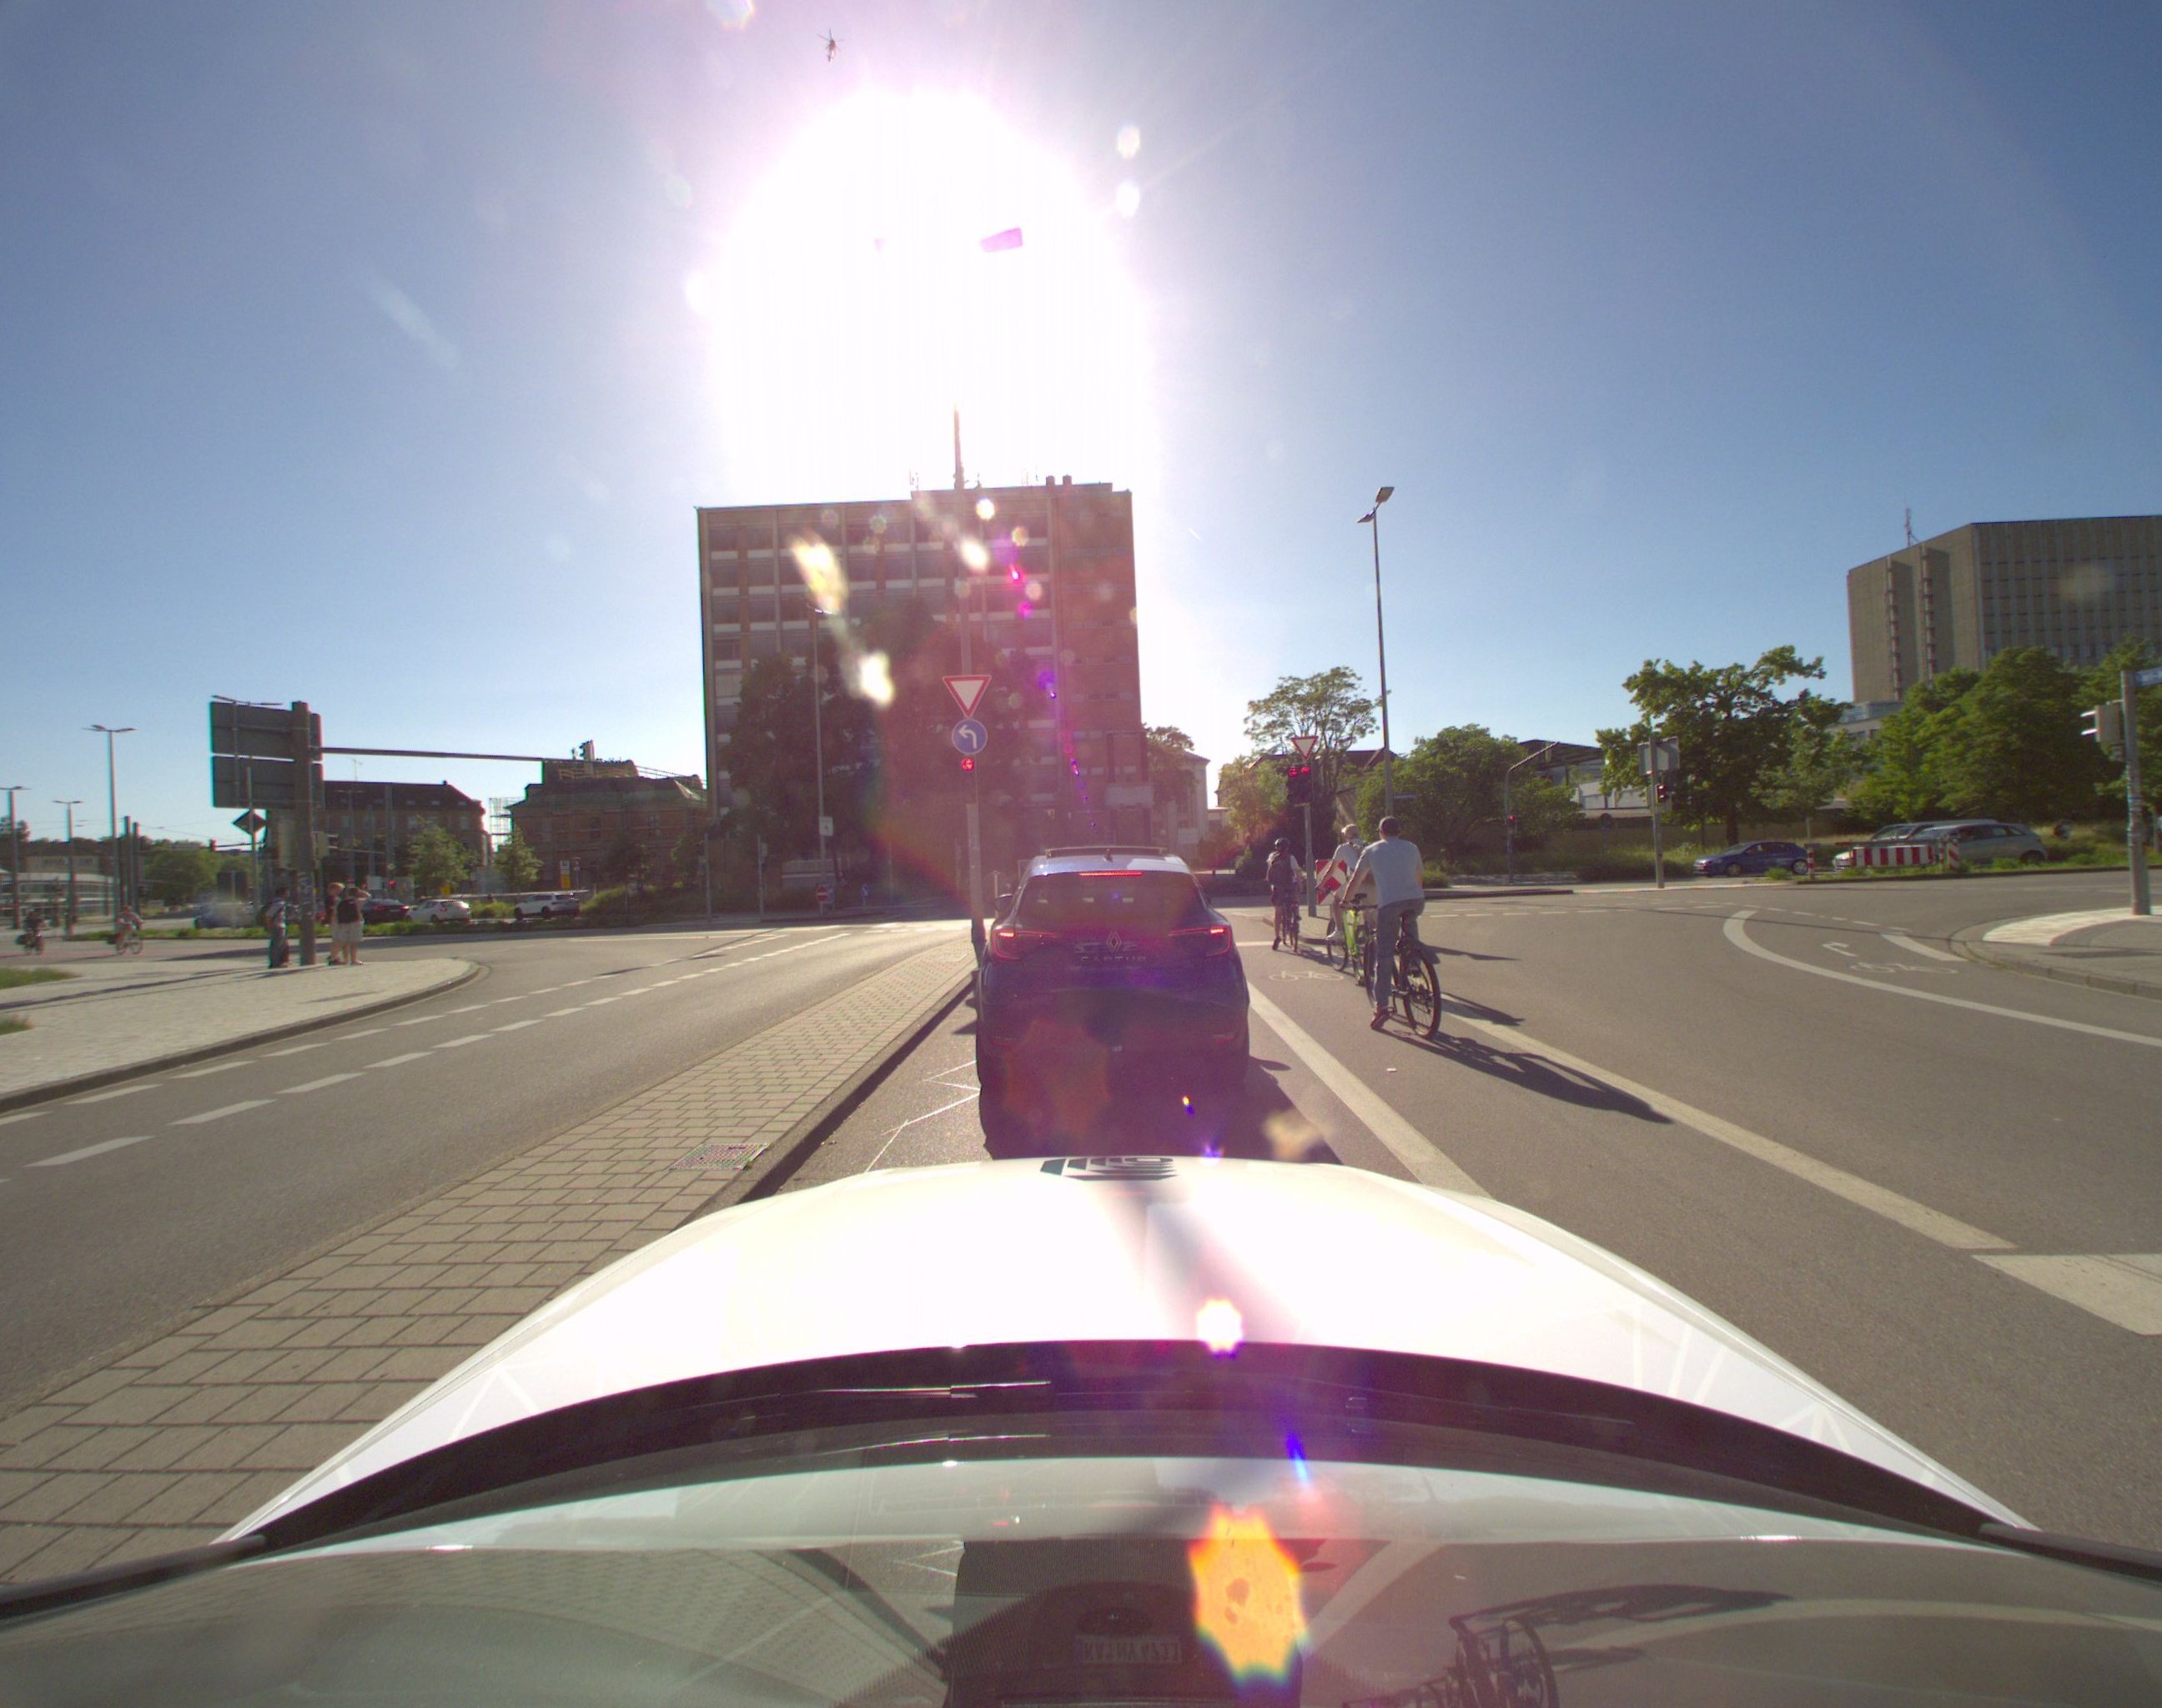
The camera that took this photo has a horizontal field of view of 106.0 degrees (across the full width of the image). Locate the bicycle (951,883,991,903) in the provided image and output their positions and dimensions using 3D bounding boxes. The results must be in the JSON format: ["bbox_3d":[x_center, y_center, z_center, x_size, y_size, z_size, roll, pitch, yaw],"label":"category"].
[{"bbox_3d":[-5.926,2.110,44.033,2.016,0.964,0.593,-2,-1,-25],"label":"bicycle"}]

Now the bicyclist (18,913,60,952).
[{"bbox_3d":[-41.161,3.100,32.163,1.114,1.422,0.691,-5,-1,22],"label":"bicyclist"}]

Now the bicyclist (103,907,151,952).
[{"bbox_3d":[-33.719,2.661,28.783,1.060,1.500,0.745,-5,-1,20],"label":"bicyclist"}]

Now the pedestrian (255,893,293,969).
[{"bbox_3d":[-19.196,1.813,19.374,0.600,1.729,0.572,-2,-1,-45],"label":"pedestrian"}]

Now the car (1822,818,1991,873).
[{"bbox_3d":[30.822,-0.293,30.541,3.962,1.815,2.006,-2,-1,10],"label":"car"}]

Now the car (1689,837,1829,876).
[{"bbox_3d":[28.218,0.099,34.014,4.140,1.435,1.747,-2,-1,8],"label":"car"}]

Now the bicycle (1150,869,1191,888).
[{"bbox_3d":[4.824,1.312,43.721,2.067,0.930,0.698,-3,1,12],"label":"bicycle"}]

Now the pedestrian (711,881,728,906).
[{"bbox_3d":[-24.560,2.694,55.312,0.852,1.571,0.563,-6,-1,28],"label":"pedestrian"}]

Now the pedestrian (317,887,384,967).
[{"bbox_3d":[-16.362,1.630,18.249,0.786,1.690,0.793,-5,-3,19],"label":"pedestrian"}]

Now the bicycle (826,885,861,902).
[{"bbox_3d":[-14.665,2.455,50.292,2.060,0.964,0.601,-3,-1,17],"label":"bicycle"}]

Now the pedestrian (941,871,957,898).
[{"bbox_3d":[-7.955,1.824,49.104,0.732,1.603,0.601,-3,-1,14],"label":"pedestrian"}]

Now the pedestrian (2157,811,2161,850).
[{"bbox_3d":[51.239,-1.130,38.181,0.559,1.848,0.714,-2,-1,5],"label":"pedestrian"}]

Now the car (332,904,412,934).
[{"bbox_3d":[-42.562,3.919,48.902,4.334,1.632,1.854,-3,-1,23],"label":"car"}]

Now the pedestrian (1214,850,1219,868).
[{"bbox_3d":[15.103,0.597,90.863,0.473,2.014,0.524,-2,-1,8],"label":"pedestrian"}]

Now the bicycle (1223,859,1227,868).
[{"bbox_3d":[16.655,1.074,94.178,0.403,0.973,1.686,0,-1,6],"label":"bicycle"}]

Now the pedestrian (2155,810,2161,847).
[{"bbox_3d":[53.197,-1.268,39.806,0.558,1.778,0.528,-2,-1,6],"label":"pedestrian"}]

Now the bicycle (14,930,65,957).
[{"bbox_3d":[-41.130,3.551,32.148,1.967,0.918,0.691,-5,-1,22],"label":"bicycle"}]

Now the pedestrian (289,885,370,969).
[{"bbox_3d":[-17.054,1.635,18.496,0.696,1.800,1.109,-6,-3,24],"label":"pedestrian"}]

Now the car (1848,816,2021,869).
[{"bbox_3d":[35.252,-0.443,33.766,4.856,2.107,2.002,0,-1,4],"label":"car"}]

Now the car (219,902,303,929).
[{"bbox_3d":[-49.013,3.676,48.668,4.841,1.388,1.854,-3,-1,23],"label":"car"}]

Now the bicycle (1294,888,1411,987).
[{"bbox_3d":[3.215,0.954,9.858,0.657,1.003,1.967,0,-1,-4],"label":"bicycle"}]

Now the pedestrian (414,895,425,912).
[{"bbox_3d":[-70.821,5.311,87.201,0.671,1.735,0.663,-3,-1,32],"label":"pedestrian"}]

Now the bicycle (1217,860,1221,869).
[{"bbox_3d":[15.877,1.221,93.828,0.403,0.973,1.686,0,-1,6],"label":"bicycle"}]

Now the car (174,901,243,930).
[{"bbox_3d":[-55.160,3.906,51.479,4.331,1.632,1.855,-3,-1,27],"label":"car"}]

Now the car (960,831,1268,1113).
[{"bbox_3d":[0.204,0.707,6.809,1.798,1.632,3.999,-1,0,0],"label":"car"}]

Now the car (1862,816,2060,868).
[{"bbox_3d":[28.141,-0.361,26.172,4.025,1.408,1.872,-2,-1,8],"label":"car"}]

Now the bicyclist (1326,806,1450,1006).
[{"bbox_3d":[2.713,0.438,7.302,0.748,1.668,1.017,0,-1,3],"label":"bicyclist"}]

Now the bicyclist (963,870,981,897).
[{"bbox_3d":[-5.889,1.595,44.060,0.741,1.441,0.593,-2,-1,-25],"label":"bicyclist"}]

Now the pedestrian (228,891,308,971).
[{"bbox_3d":[-18.131,1.700,18.187,0.900,1.690,0.839,-4,-3,-3],"label":"pedestrian"}]

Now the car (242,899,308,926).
[{"bbox_3d":[-53.815,3.919,54.381,4.331,1.632,1.855,-3,-1,27],"label":"car"}]

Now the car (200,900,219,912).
[{"bbox_3d":[-160.212,9.565,149.677,3.948,2.013,2.013,-3,-1,38],"label":"car"}]

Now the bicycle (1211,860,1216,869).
[{"bbox_3d":[15.259,1.226,93.887,0.403,0.973,1.686,0,-1,6],"label":"bicycle"}]

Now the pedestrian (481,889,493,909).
[{"bbox_3d":[-48.610,3.684,66.604,0.541,1.615,0.653,-3,-1,41],"label":"pedestrian"}]

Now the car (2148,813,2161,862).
[{"bbox_3d":[36.986,-0.625,25.354,4.713,1.584,2.002,-2,-1,3],"label":"car"}]

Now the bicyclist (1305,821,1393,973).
[{"bbox_3d":[3.216,0.493,9.856,0.644,1.739,1.065,0,-1,-4],"label":"bicyclist"}]

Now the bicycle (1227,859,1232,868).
[{"bbox_3d":[17.189,1.070,94.179,0.403,0.973,1.686,0,-1,6],"label":"bicycle"}]

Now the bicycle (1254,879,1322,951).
[{"bbox_3d":[3.248,0.926,12.940,0.735,0.995,2.177,0,-1,6],"label":"bicycle"}]

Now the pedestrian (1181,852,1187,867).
[{"bbox_3d":[12.707,0.647,100.619,0.620,1.856,0.564,-2,-1,6],"label":"pedestrian"}]

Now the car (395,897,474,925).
[{"bbox_3d":[-36.381,3.209,45.845,3.803,1.435,1.752,-2,-1,21],"label":"car"}]

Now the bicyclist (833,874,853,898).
[{"bbox_3d":[-14.687,1.995,50.297,0.929,1.429,0.601,-3,-1,17],"label":"bicyclist"}]

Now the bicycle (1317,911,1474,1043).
[{"bbox_3d":[2.721,1.020,7.302,0.737,0.896,1.980,0,-1,3],"label":"bicycle"}]

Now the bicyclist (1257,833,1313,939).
[{"bbox_3d":[3.239,0.499,12.993,0.722,1.629,0.970,0,-1,6],"label":"bicyclist"}]

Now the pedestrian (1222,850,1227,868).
[{"bbox_3d":[16.215,0.599,92.189,0.473,2.014,0.469,-2,-1,8],"label":"pedestrian"}]

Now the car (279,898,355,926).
[{"bbox_3d":[-48.458,3.683,51.655,4.334,1.632,1.854,-3,-1,23],"label":"car"}]

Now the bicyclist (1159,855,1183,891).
[{"bbox_3d":[4.827,0.996,43.638,1.094,1.867,0.655,-3,-1,12],"label":"bicyclist"}]

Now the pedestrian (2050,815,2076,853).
[{"bbox_3d":[48.005,-0.973,39.803,0.559,1.778,0.528,-2,-1,5],"label":"pedestrian"}]

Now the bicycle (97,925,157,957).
[{"bbox_3d":[-33.696,3.069,28.769,1.967,0.995,0.745,-5,-1,21],"label":"bicycle"}]

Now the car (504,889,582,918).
[{"bbox_3d":[-33.980,3.147,51.437,4.779,1.632,1.855,-2,-1,25],"label":"car"}]
